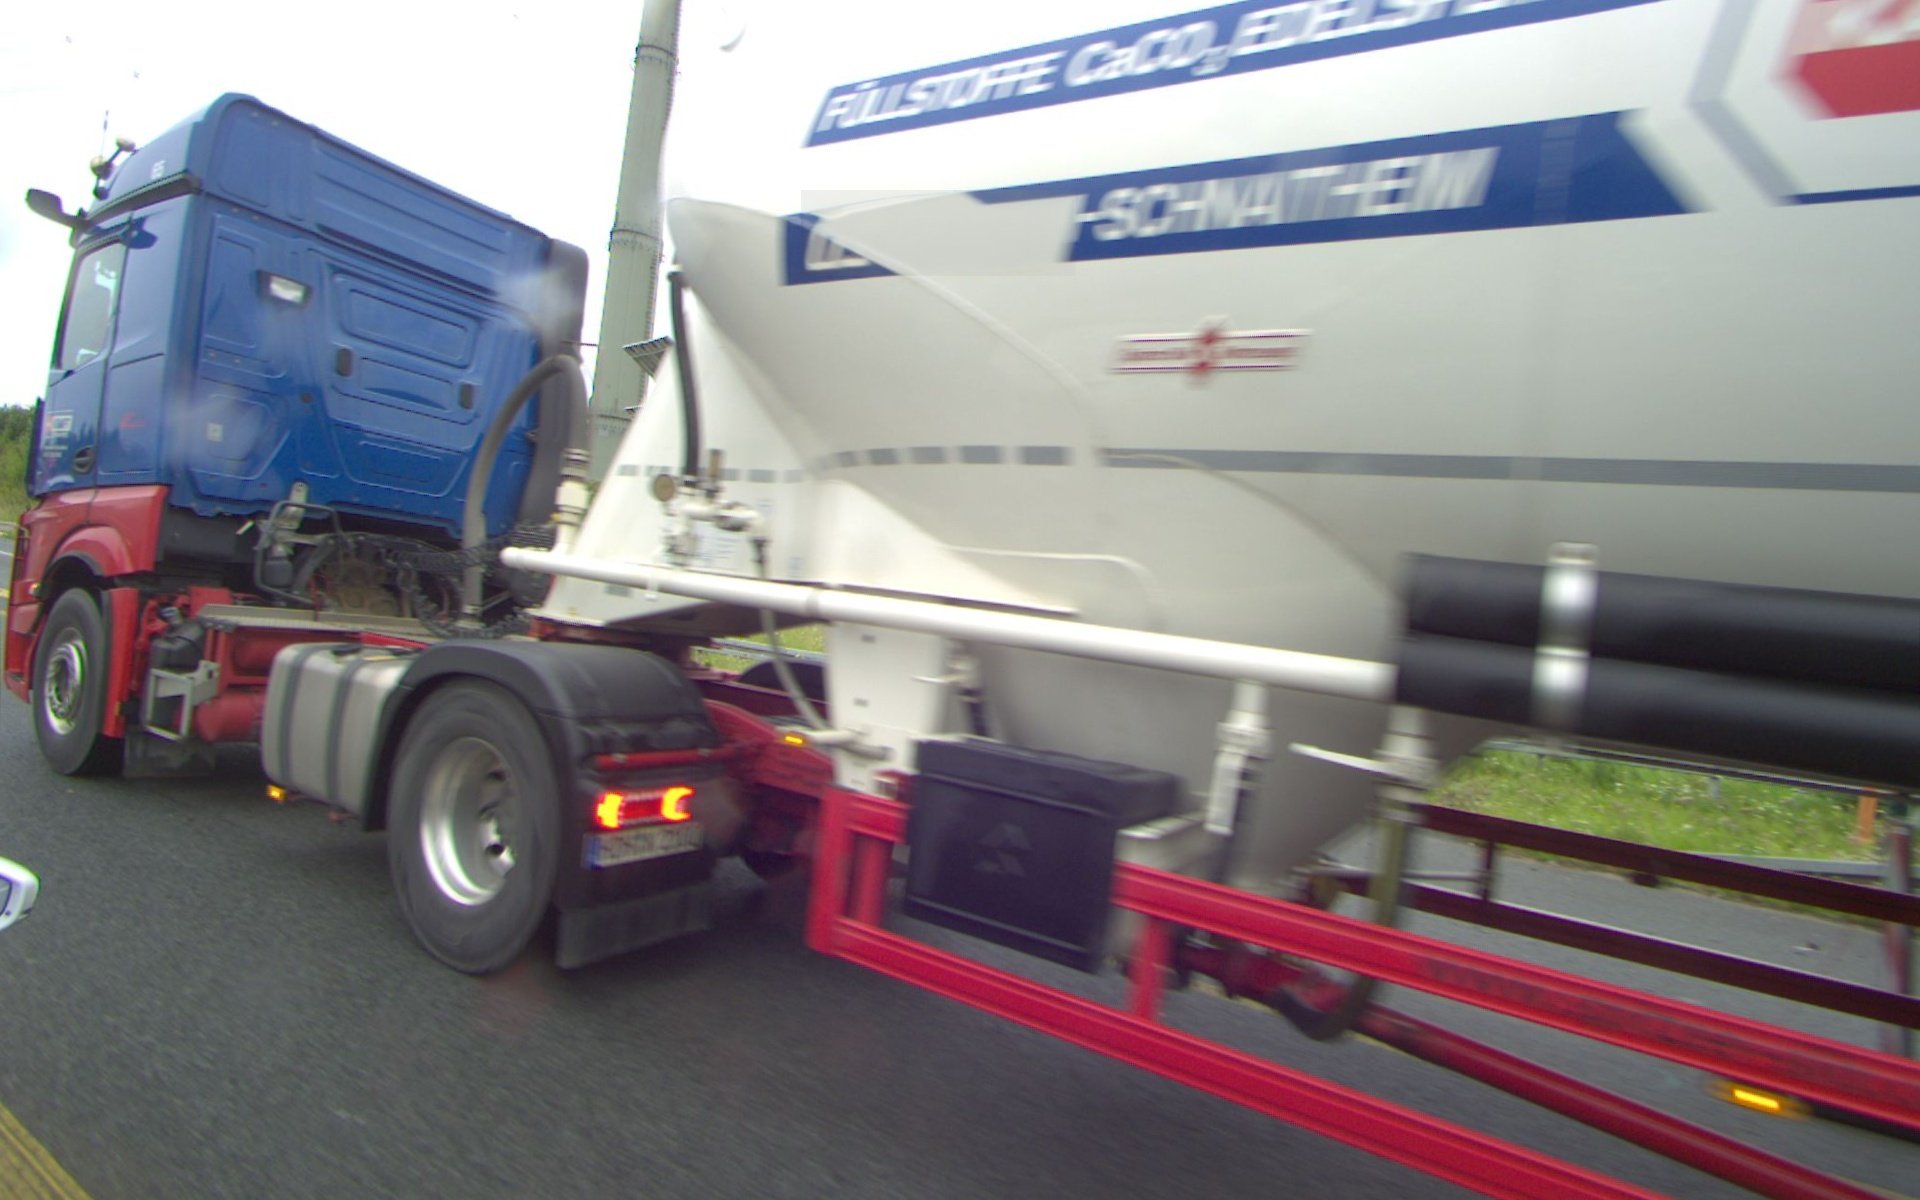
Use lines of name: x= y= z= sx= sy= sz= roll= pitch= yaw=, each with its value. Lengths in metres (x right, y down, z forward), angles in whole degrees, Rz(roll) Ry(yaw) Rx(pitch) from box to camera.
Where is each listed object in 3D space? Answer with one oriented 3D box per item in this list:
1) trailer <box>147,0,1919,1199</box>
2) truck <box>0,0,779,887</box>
trailer: x=2.203 y=-0.423 z=2.568 sx=12.148 sy=3.878 sz=2.524 roll=6 pitch=-2 yaw=32
truck: x=-3.676 y=-0.860 z=6.244 sx=3.935 sy=3.993 sz=2.551 roll=6 pitch=-1 yaw=33
